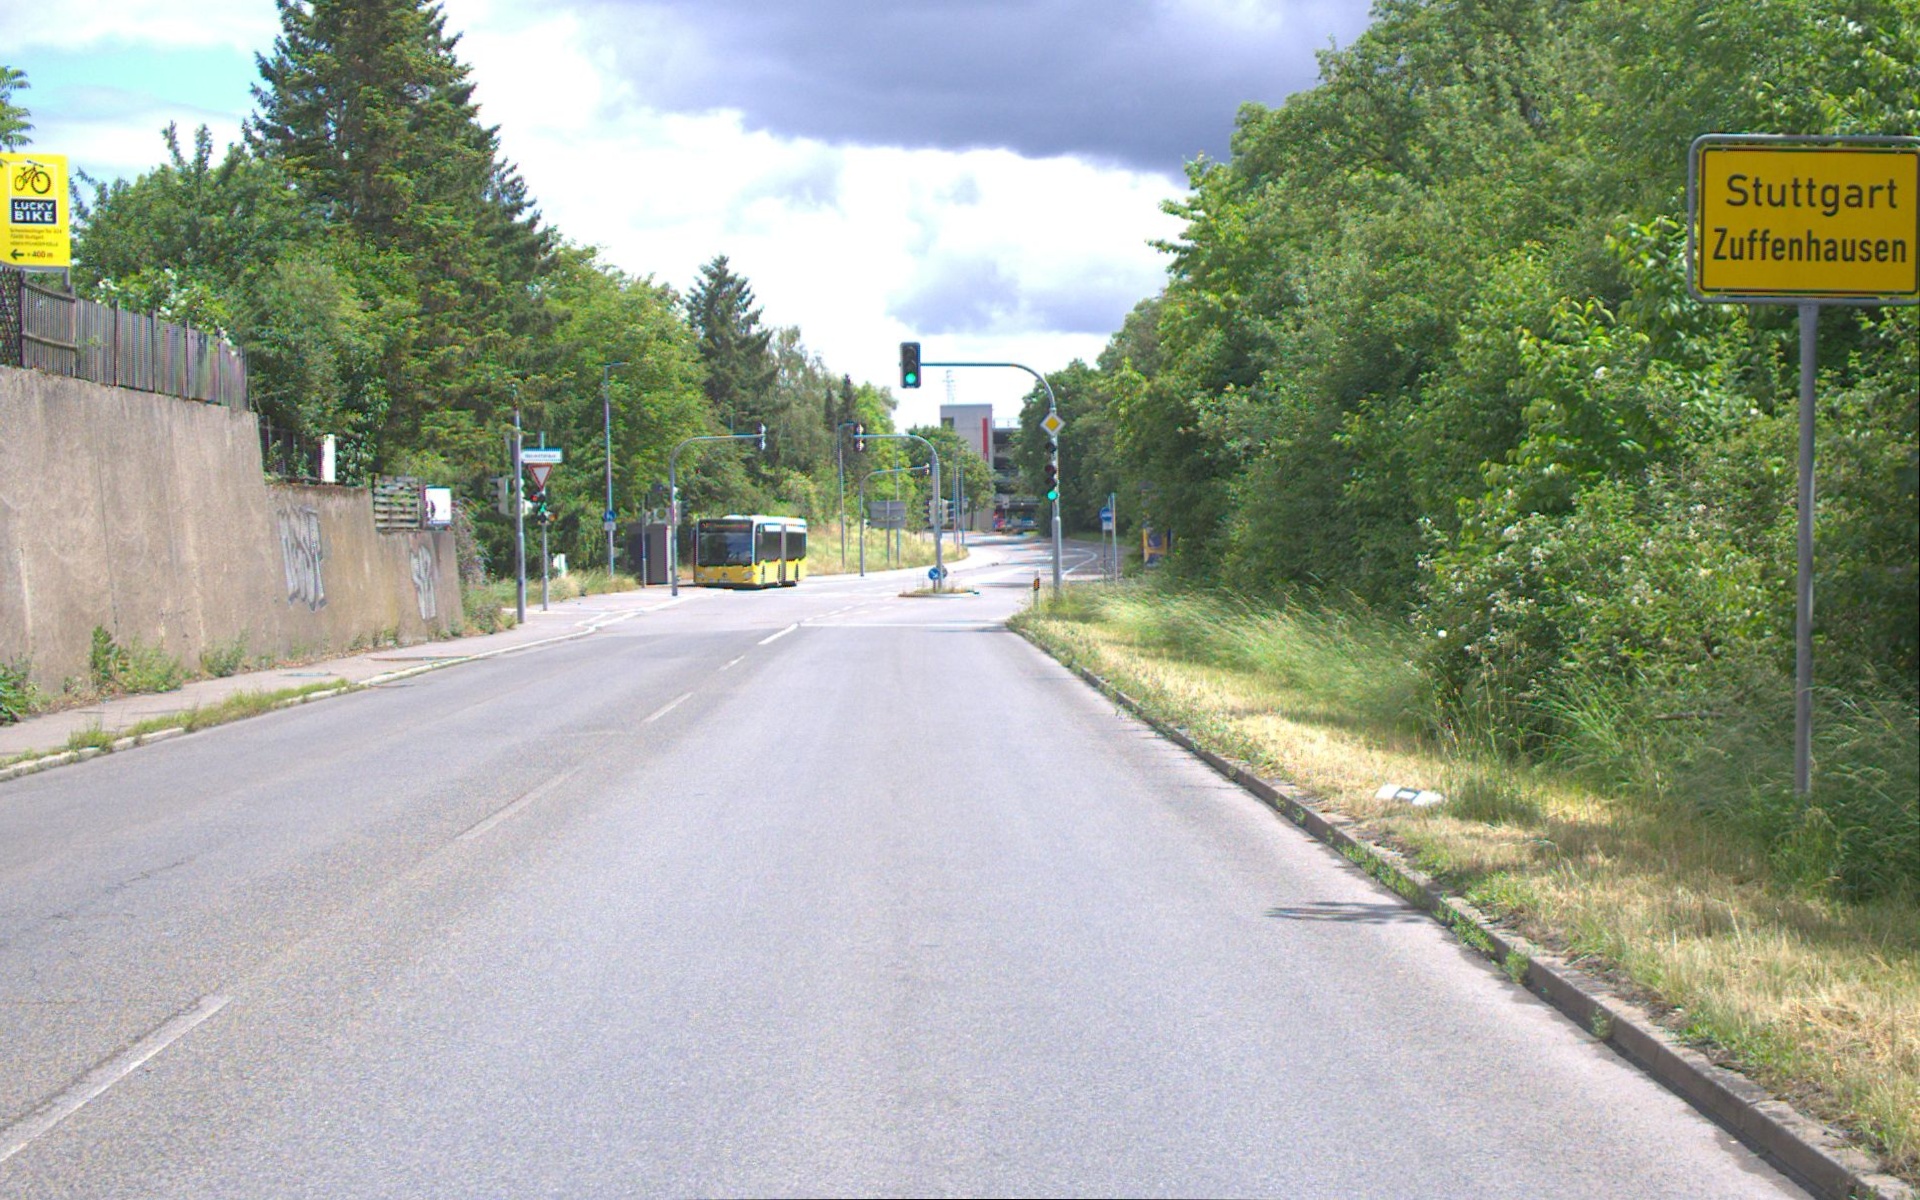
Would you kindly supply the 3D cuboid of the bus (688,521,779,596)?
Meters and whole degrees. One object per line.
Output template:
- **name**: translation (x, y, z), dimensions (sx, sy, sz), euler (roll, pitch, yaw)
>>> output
- **bus**: translation (-9.346, -1.770, 142.603), dimensions (2.895, 2.889, 7.667), euler (1, 2, 2)
